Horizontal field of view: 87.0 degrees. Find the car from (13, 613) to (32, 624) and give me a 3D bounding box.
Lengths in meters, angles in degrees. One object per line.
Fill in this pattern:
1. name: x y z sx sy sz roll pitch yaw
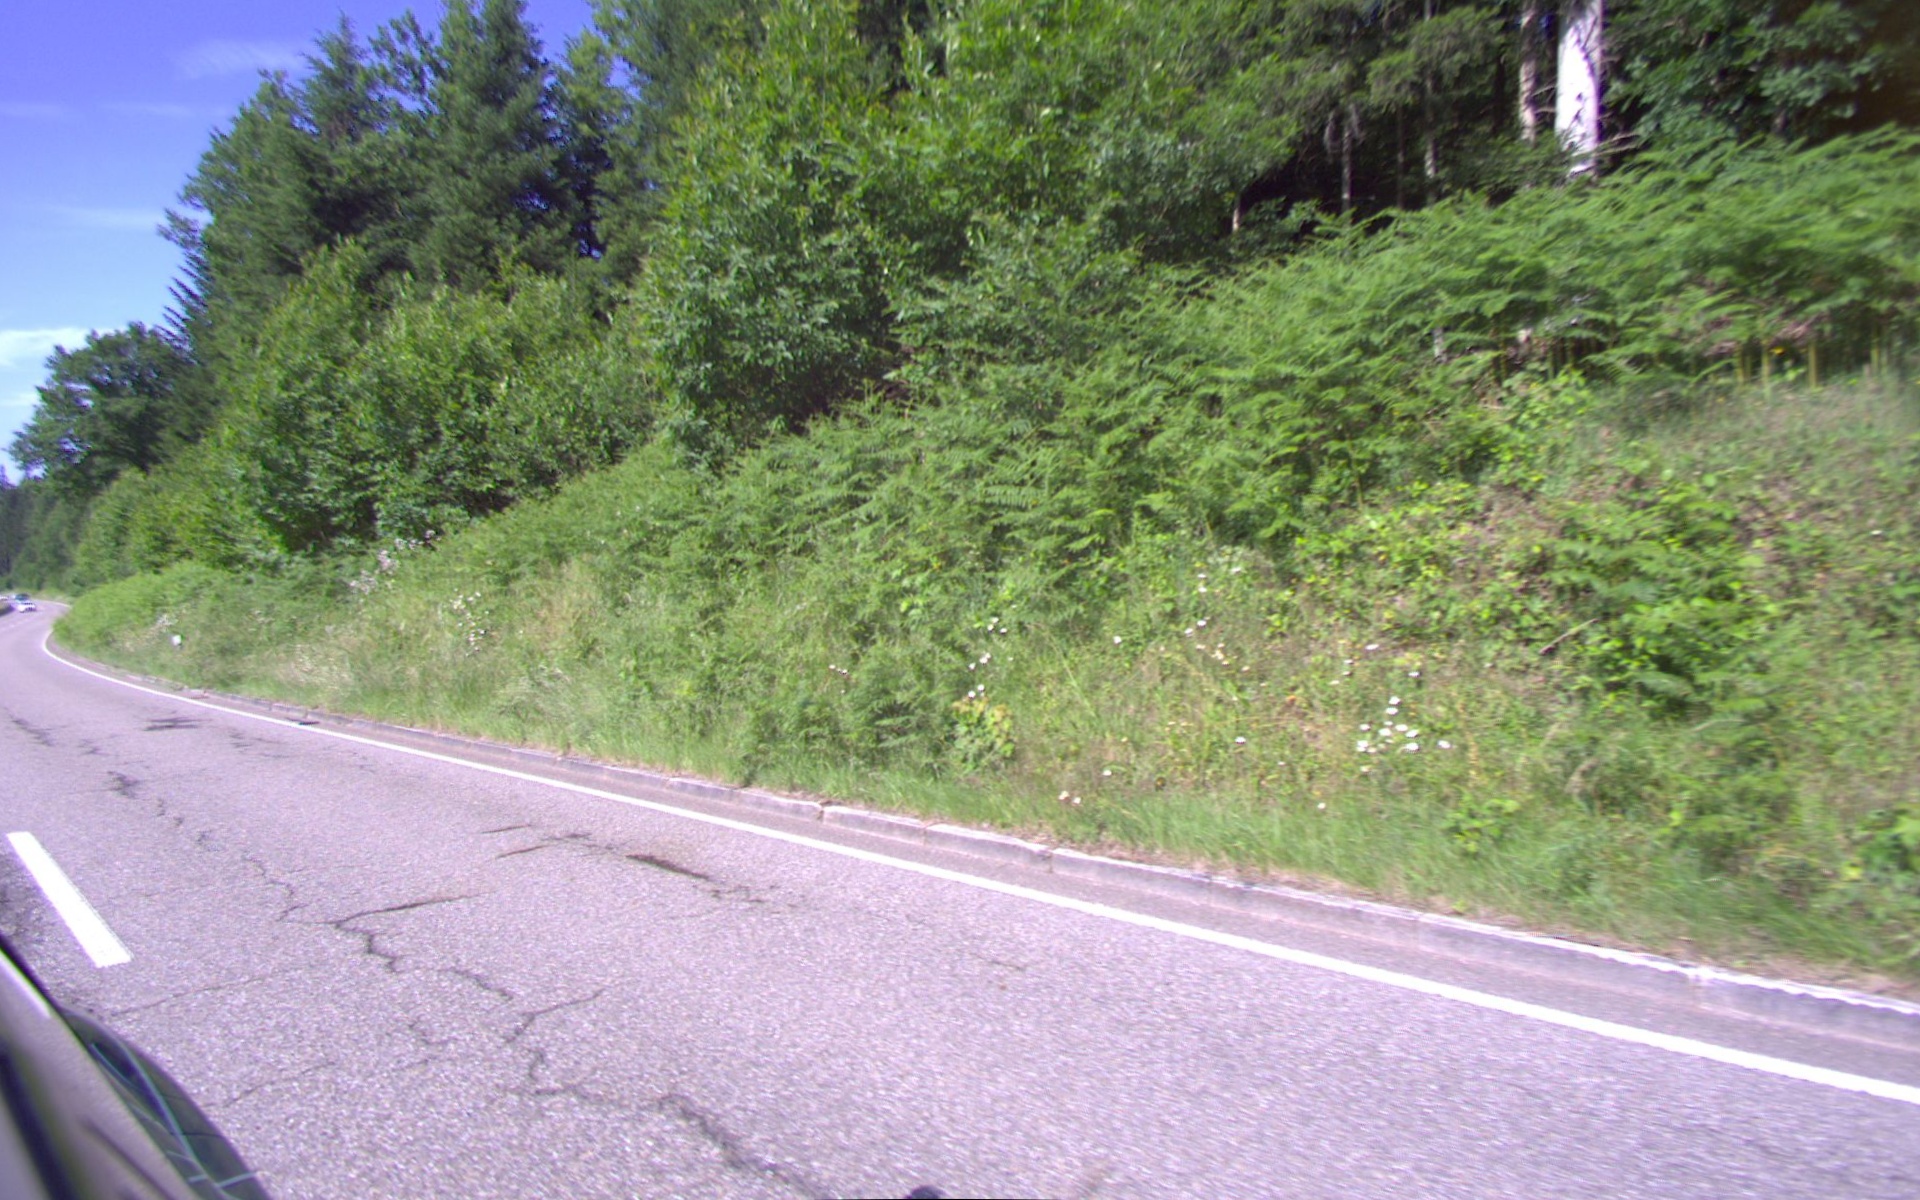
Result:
1. car: -135.848 2.674 146.627 3.787 1.563 1.681 0 3 42
